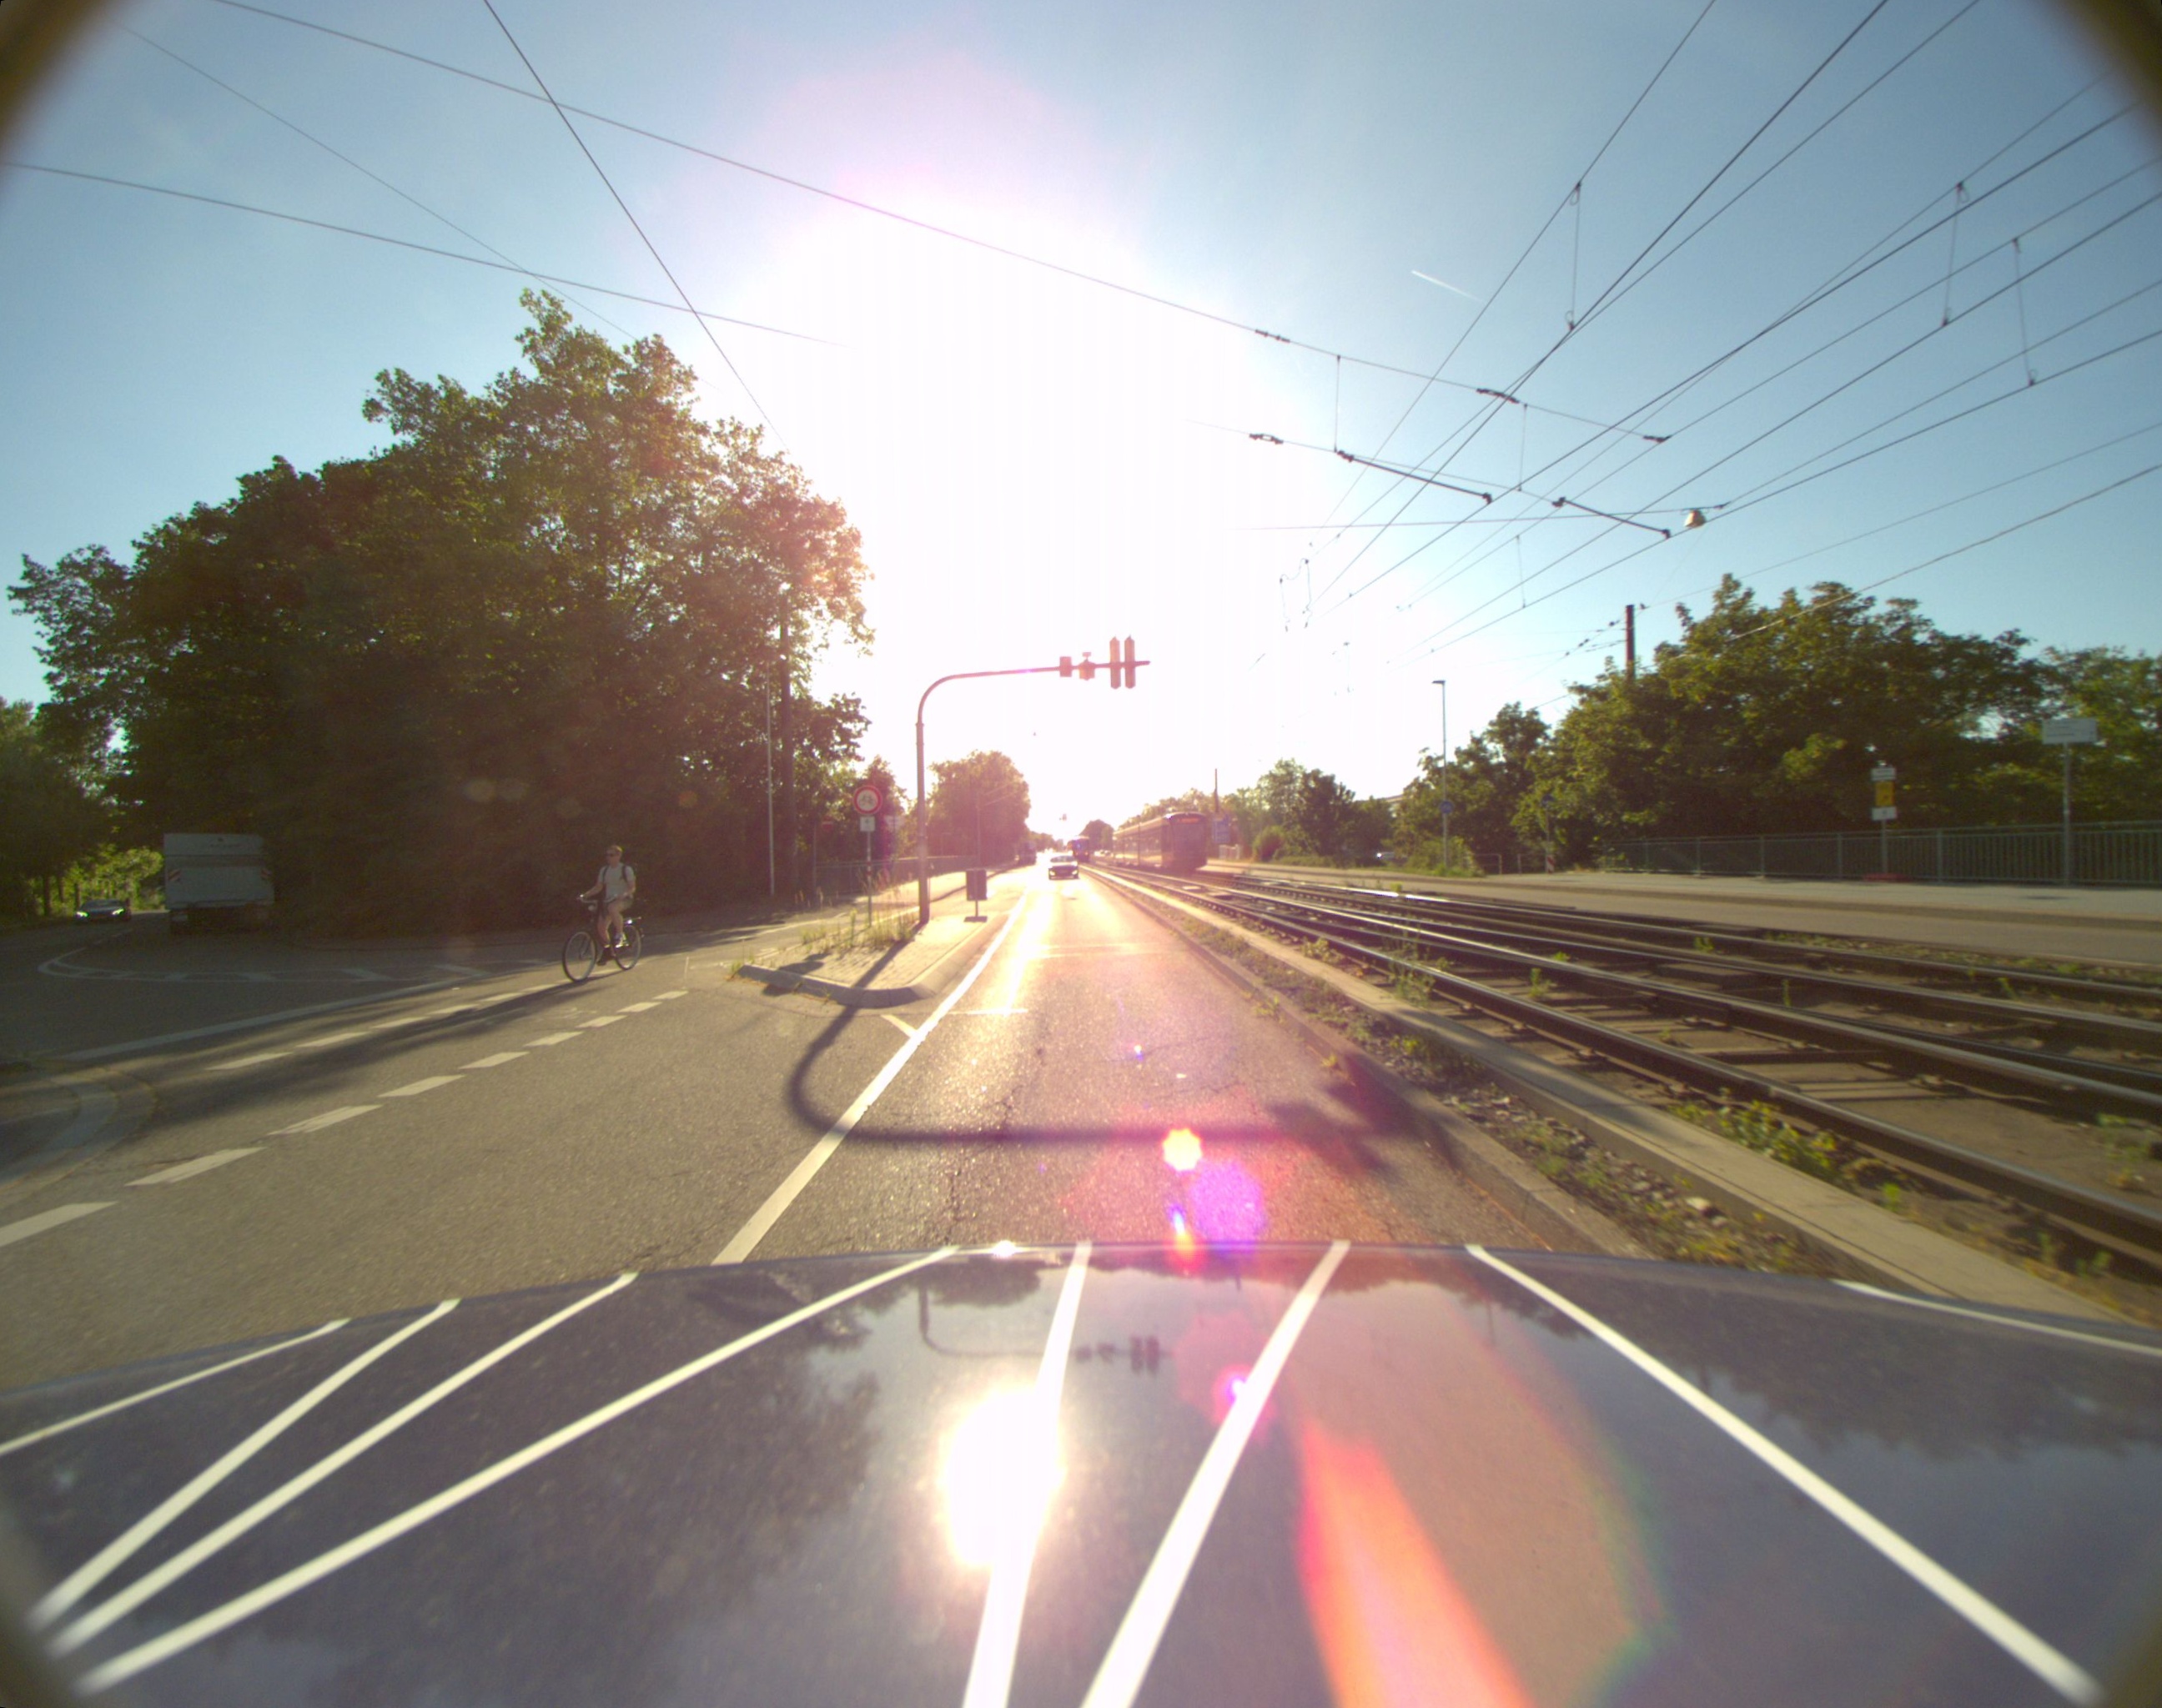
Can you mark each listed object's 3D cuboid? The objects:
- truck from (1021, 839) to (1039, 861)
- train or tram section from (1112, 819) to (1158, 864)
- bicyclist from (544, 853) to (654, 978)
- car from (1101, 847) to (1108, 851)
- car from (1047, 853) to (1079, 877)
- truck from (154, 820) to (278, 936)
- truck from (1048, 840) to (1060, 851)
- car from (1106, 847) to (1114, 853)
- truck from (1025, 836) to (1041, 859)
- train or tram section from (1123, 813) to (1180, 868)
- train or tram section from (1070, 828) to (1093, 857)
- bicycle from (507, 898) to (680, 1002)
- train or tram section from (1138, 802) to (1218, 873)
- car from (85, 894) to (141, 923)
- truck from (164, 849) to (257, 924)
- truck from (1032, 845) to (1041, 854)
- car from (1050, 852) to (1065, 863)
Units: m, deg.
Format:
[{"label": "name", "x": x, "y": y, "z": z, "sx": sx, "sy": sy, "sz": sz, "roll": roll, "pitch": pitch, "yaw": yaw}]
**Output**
[{"label": "truck", "x": -7.888, "y": -0.655, "z": 118.299, "sx": 2.610, "sy": 3.186, "sz": 7.867, "roll": -2, "pitch": 1, "yaw": -2}, {"label": "train or tram section", "x": 5.030, "y": -1.106, "z": 73.331, "sx": 3.012, "sy": 3.878, "sz": 13.076, "roll": -2, "pitch": 0, "yaw": -2}, {"label": "bicyclist", "x": -6.993, "y": 0.851, "z": 11.096, "sx": 0.733, "sy": 1.680, "sz": 1.202, "roll": -4, "pitch": 1, "yaw": -2}, {"label": "car", "x": 7.954, "y": -1.651, "z": 258.945, "sx": 1.802, "sy": 1.345, "sz": 3.998, "roll": -3, "pitch": 1, "yaw": -2}, {"label": "car", "x": -1.074, "y": 0.615, "z": 45.117, "sx": 1.802, "sy": 1.345, "sz": 3.999, "roll": -1, "pitch": 0, "yaw": -2}, {"label": "truck", "x": -34.301, "y": 0.899, "z": 29.988, "sx": 9.858, "sy": 3.974, "sz": 2.566, "roll": -1, "pitch": 1, "yaw": 38}, {"label": "truck", "x": -8.411, "y": -2.561, "z": 234.492, "sx": 3.314, "sy": 3.283, "sz": 15.317, "roll": -2, "pitch": 0, "yaw": -2}, {"label": "car", "x": 7.854, "y": -1.147, "z": 207.596, "sx": 1.802, "sy": 1.345, "sz": 3.998, "roll": -3, "pitch": 1, "yaw": -2}, {"label": "truck", "x": -8.539, "y": -1.130, "z": 134.893, "sx": 2.559, "sy": 3.826, "sz": 7.867, "roll": -2, "pitch": 1, "yaw": -2}, {"label": "train or tram section", "x": 5.478, "y": -0.996, "z": 60.949, "sx": 2.984, "sy": 3.878, "sz": 11.661, "roll": -2, "pitch": 0, "yaw": -2}, {"label": "train or tram section", "x": -0.042, "y": -1.576, "z": 109.459, "sx": 2.569, "sy": 3.878, "sz": 11.667, "roll": -2, "pitch": 0, "yaw": -3}, {"label": "bicycle", "x": -6.945, "y": 1.309, "z": 11.076, "sx": 0.733, "sy": 1.116, "sz": 2.741, "roll": -4, "pitch": 0, "yaw": -1}, {"label": "train or tram section", "x": 5.891, "y": -0.944, "z": 48.829, "sx": 2.986, "sy": 3.878, "sz": 12.697, "roll": -2, "pitch": 0, "yaw": -2}, {"label": "car", "x": -57.516, "y": 3.209, "z": 45.200, "sx": 3.989, "sy": 1.543, "sz": 1.741, "roll": -2, "pitch": 0, "yaw": 42}, {"label": "truck", "x": -44.257, "y": 1.556, "z": 38.564, "sx": 7.956, "sy": 3.429, "sz": 2.566, "roll": -1, "pitch": 1, "yaw": 38}, {"label": "truck", "x": -10.711, "y": -1.082, "z": 183.642, "sx": 2.098, "sy": 1.961, "sz": 6.025, "roll": -1, "pitch": 0, "yaw": -2}, {"label": "car", "x": -2.998, "y": 0.456, "z": 97.201, "sx": 1.802, "sy": 1.345, "sz": 3.999, "roll": -1, "pitch": 0, "yaw": -1}]
